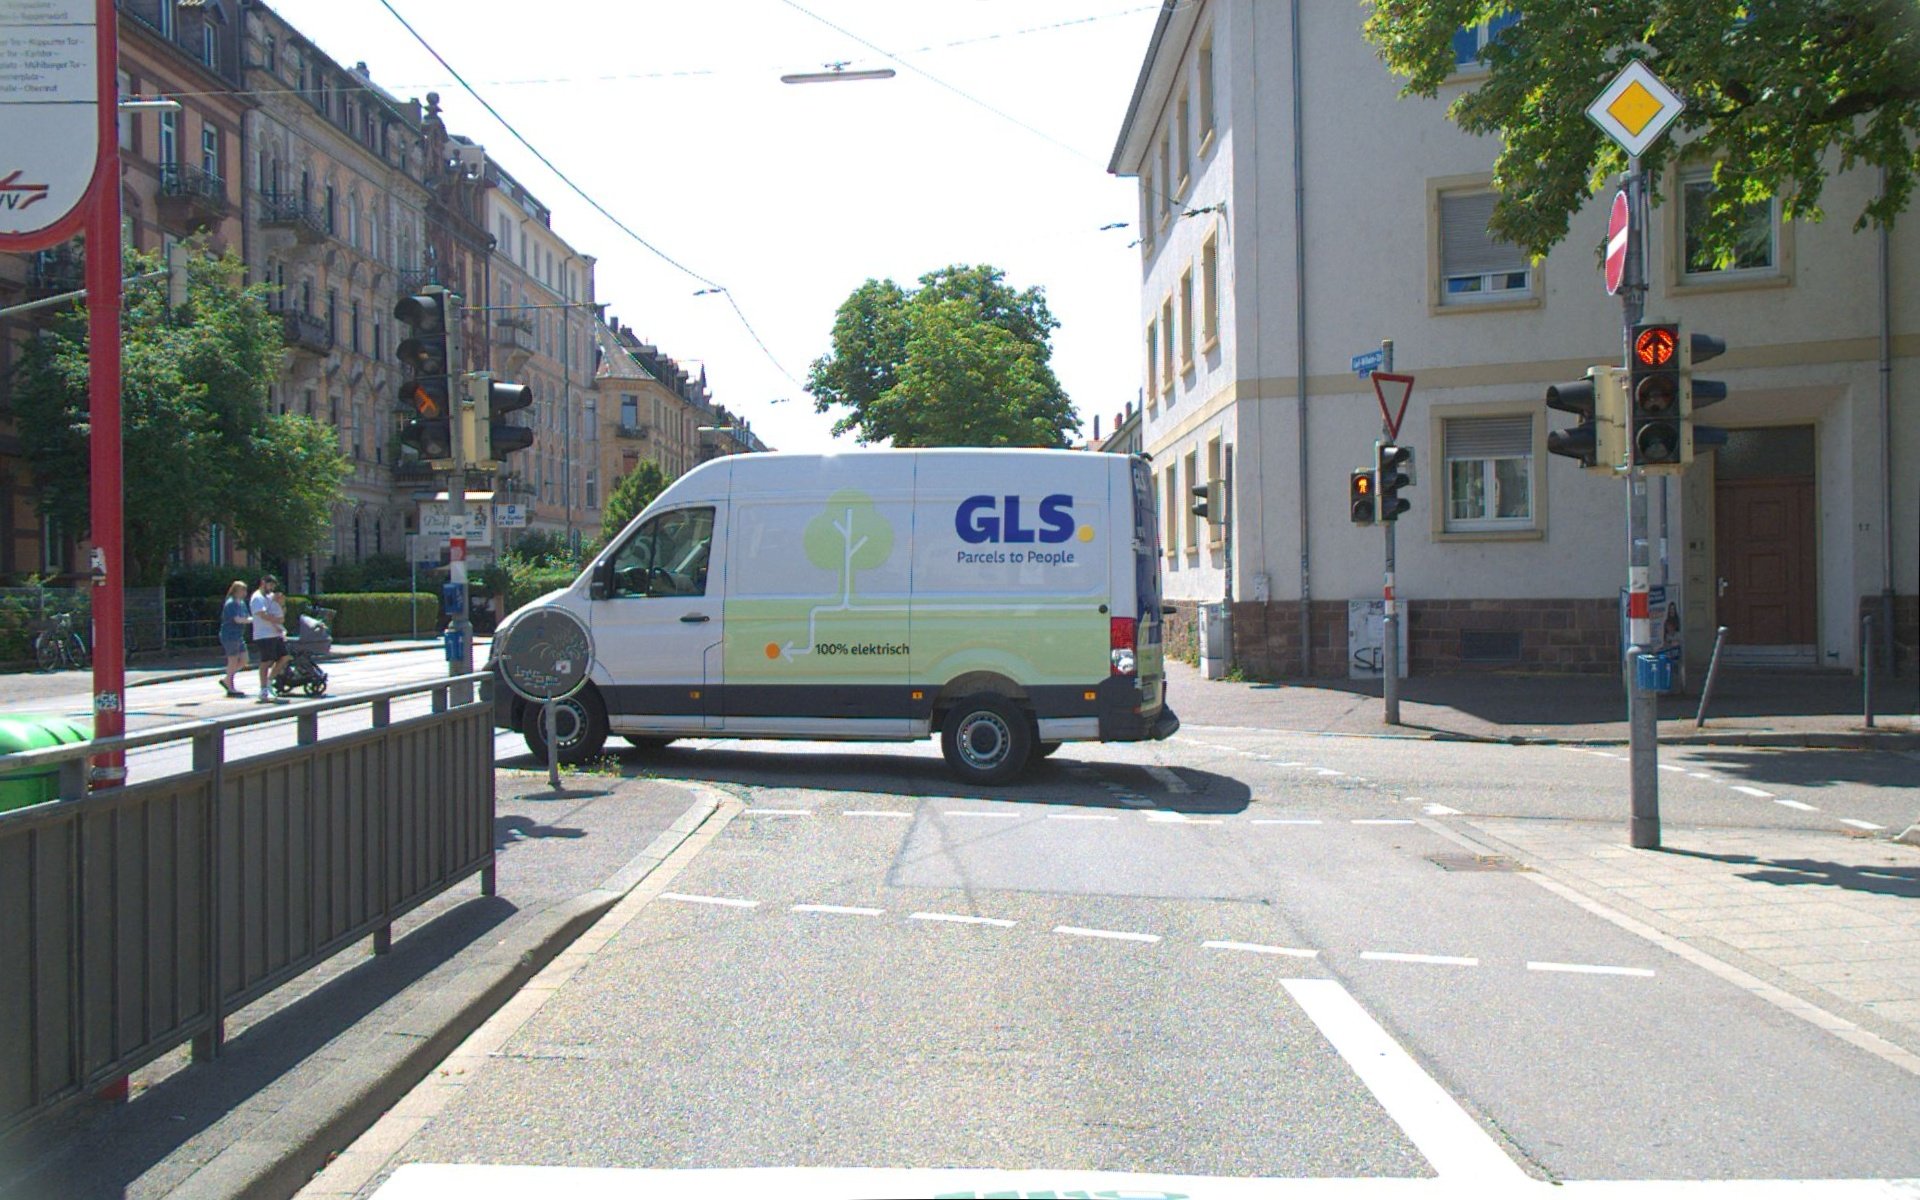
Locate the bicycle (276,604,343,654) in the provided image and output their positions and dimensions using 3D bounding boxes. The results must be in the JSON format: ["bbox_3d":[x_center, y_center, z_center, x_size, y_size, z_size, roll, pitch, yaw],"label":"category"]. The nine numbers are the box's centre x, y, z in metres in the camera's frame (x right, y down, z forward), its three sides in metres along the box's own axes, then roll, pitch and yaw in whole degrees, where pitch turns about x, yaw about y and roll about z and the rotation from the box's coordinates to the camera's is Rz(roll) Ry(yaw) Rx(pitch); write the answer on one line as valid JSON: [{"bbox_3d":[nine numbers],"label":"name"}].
[{"bbox_3d":[-15.906,0.696,40.502,0.920,1.156,2.767,1,0,-9],"label":"bicycle"}]

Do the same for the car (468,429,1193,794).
[{"bbox_3d":[-1.001,0.046,14.070,5.685,2.720,2.276,1,0,13],"label":"car"}]

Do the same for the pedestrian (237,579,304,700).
[{"bbox_3d":[-9.702,0.551,23.295,0.661,1.674,0.559,1,-1,4],"label":"pedestrian"}]

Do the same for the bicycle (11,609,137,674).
[{"bbox_3d":[-16.711,0.755,31.296,0.918,1.156,2.773,1,0,-2],"label":"bicycle"}]

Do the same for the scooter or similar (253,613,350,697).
[{"bbox_3d":[-9.599,0.793,24.127,1.176,1.175,0.559,1,-1,4],"label":"scooter or similar"}]

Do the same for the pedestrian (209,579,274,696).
[{"bbox_3d":[-10.502,0.546,24.196,0.661,1.674,0.559,1,-1,4],"label":"pedestrian"}]
